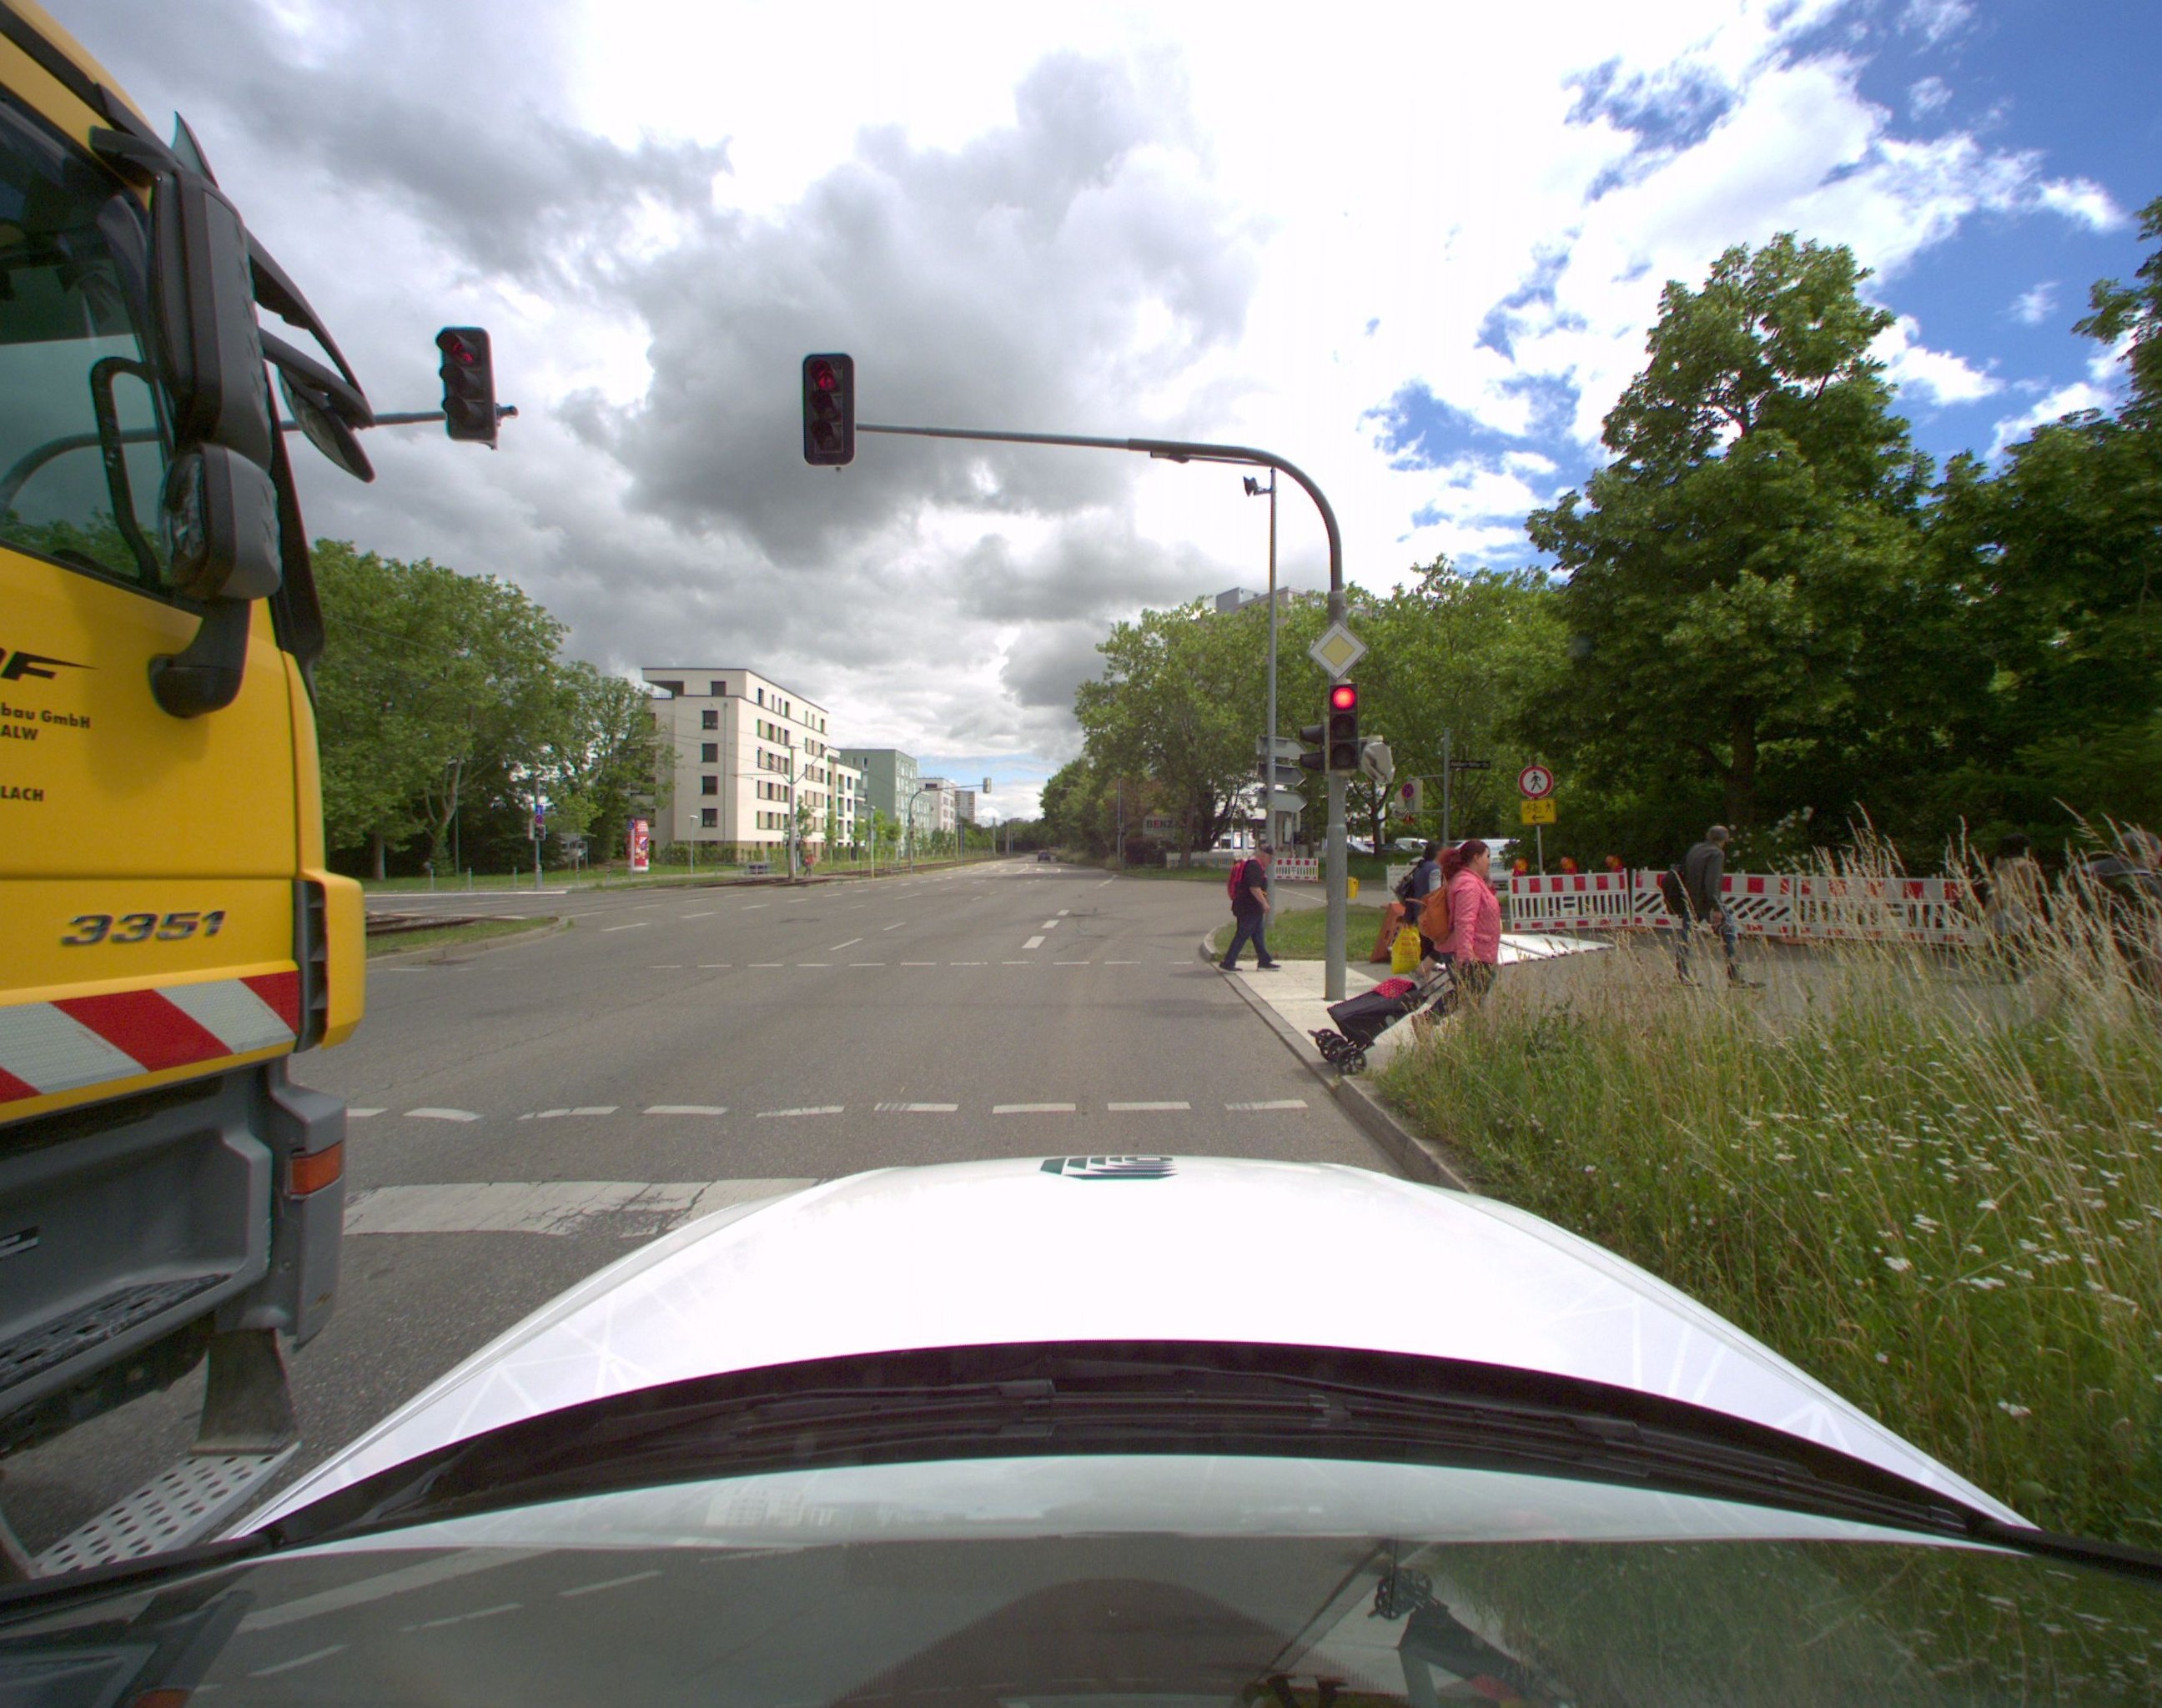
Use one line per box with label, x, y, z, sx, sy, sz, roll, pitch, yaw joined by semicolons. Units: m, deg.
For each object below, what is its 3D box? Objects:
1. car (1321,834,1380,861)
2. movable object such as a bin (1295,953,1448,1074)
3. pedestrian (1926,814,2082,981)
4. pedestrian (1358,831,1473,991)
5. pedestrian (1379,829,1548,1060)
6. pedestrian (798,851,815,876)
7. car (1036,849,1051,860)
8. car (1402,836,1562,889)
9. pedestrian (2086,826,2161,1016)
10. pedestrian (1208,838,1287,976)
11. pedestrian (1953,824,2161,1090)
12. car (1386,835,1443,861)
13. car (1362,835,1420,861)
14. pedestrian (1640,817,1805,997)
car;20.569;-0.483;62.244;2.006;2.013;3.962;-1;0;-29
movable object such as a bin;1.959;1.068;5.597;0.792;0.662;0.778;-1;0;2
pedestrian;10.103;0.458;8.954;0.778;1.742;0.830;-1;0;6
pedestrian;3.535;0.572;8.695;0.908;1.607;0.931;-1;0;6
pedestrian;2.721;0.610;5.878;0.877;1.554;0.747;-1;0;2
pedestrian;-17.315;0.585;51.423;0.827;1.516;0.636;-1;0;1
car;-5.179;0.109;112.976;1.978;1.486;4.485;-1;0;-4
car;14.918;0.301;30.449;5.063;1.874;1.947;-1;0;-2
pedestrian;9.884;0.575;7.122;1.015;1.648;0.931;-1;0;7
pedestrian;2.024;0.617;9.959;0.887;1.596;0.910;-1;0;10
pedestrian;6.822;0.631;5.479;0.955;1.648;0.881;-1;0;2
car;27.315;-0.494;66.858;2.006;2.013;3.962;-1;0;-29
car;24.600;-0.490;64.725;2.006;2.013;3.962;-1;0;-29
pedestrian;6.681;0.523;8.548;0.998;1.773;0.930;-1;0;2
